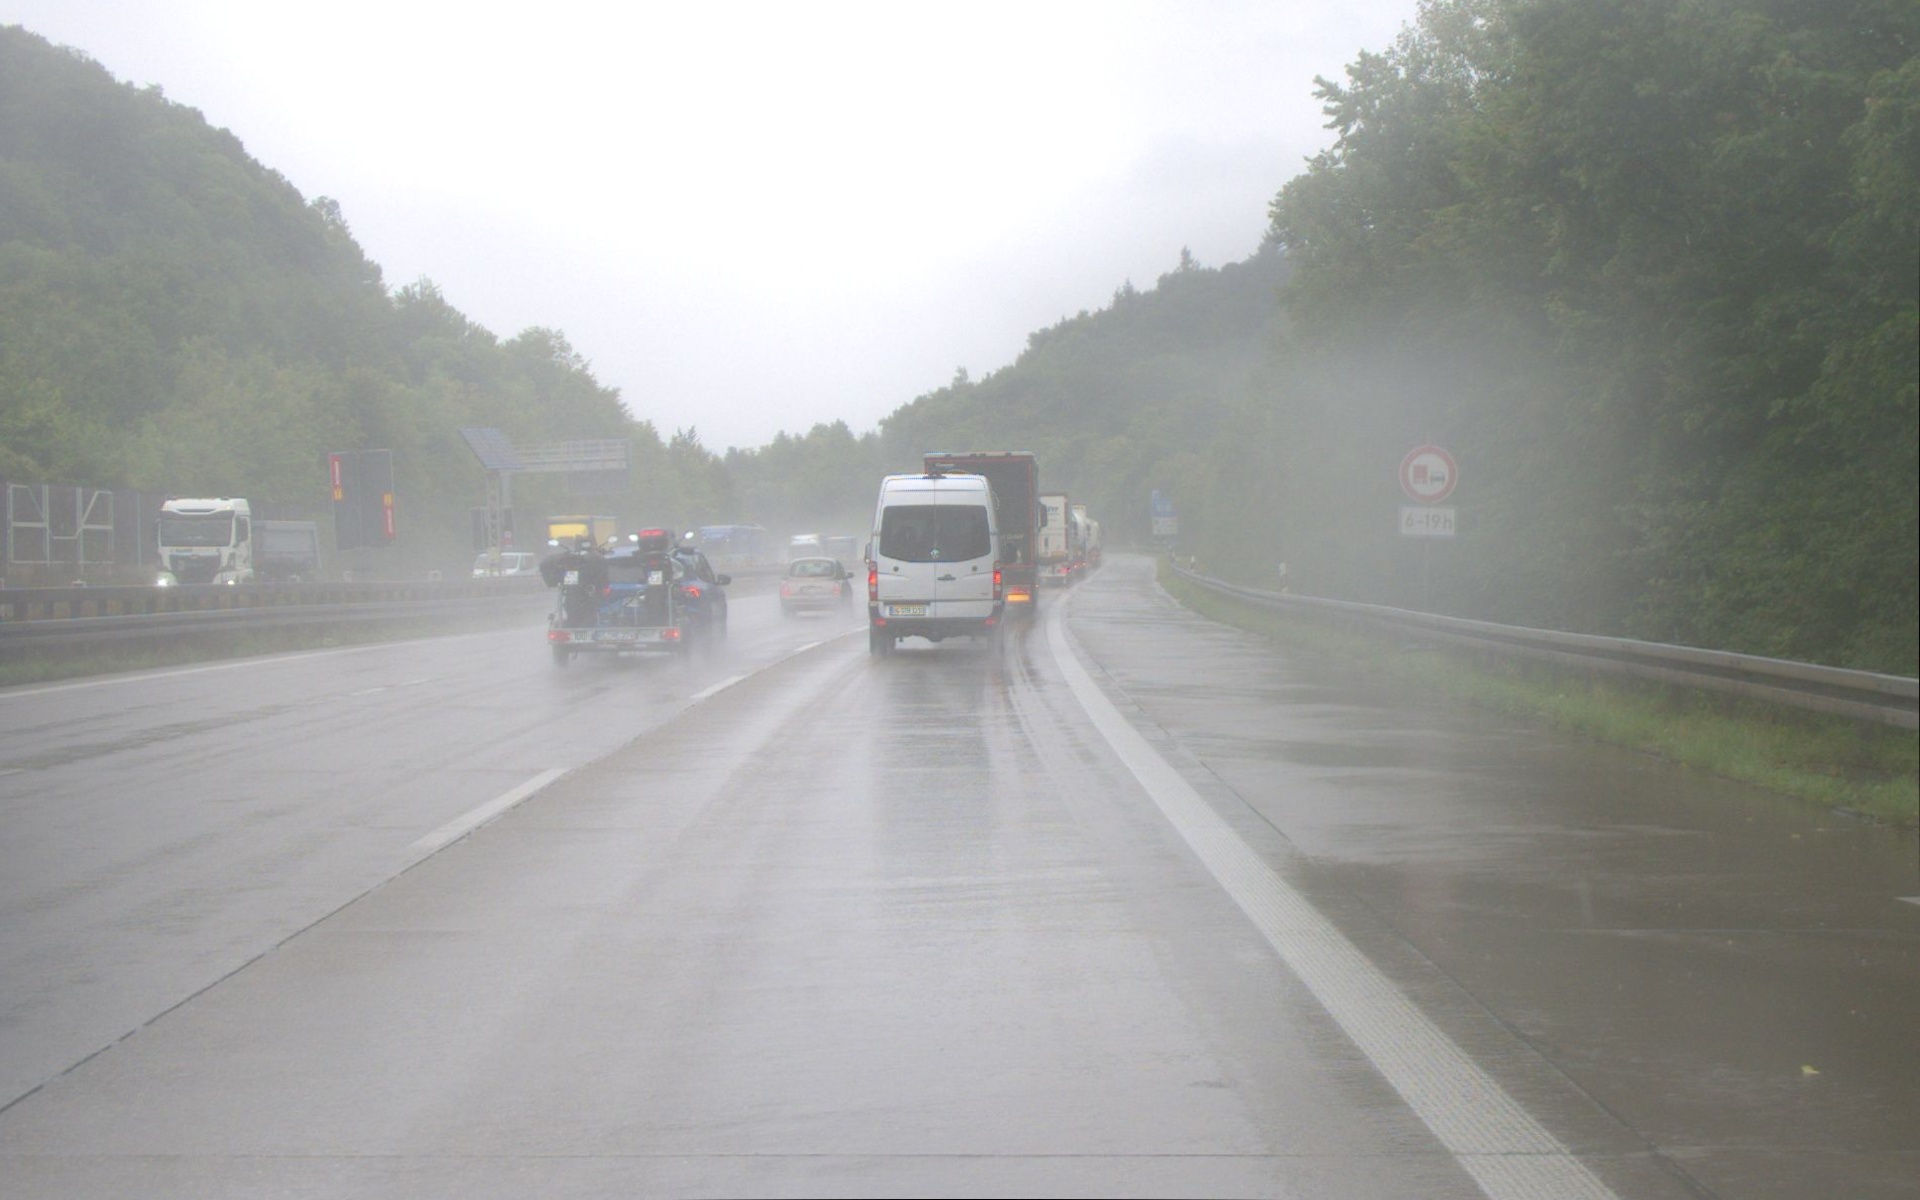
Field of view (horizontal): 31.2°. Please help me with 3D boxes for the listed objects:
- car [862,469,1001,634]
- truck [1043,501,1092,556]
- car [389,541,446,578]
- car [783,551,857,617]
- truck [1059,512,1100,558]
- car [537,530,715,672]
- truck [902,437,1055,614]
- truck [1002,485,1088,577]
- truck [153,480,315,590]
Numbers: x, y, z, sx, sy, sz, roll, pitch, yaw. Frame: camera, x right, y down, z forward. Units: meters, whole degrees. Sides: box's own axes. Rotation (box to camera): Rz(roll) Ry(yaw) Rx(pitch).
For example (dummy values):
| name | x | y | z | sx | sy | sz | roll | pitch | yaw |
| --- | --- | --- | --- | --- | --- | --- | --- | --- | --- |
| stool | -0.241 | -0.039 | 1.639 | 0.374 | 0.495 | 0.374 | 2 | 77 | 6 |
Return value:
| name | x | y | z | sx | sy | sz | roll | pitch | yaw |
| --- | --- | --- | --- | --- | --- | --- | --- | --- | --- |
| car | -0.374 | -0.732 | 51.575 | 1.899 | 2.326 | 5.250 | 0 | 1 | 1 |
| truck | 5.904 | -3.934 | 190.249 | 2.585 | 2.971 | 9.026 | 0 | 1 | 1 |
| car | -24.712 | -1.863 | 156.793 | 1.993 | 1.656 | 4.000 | 0 | 1 | 0 |
| car | -3.559 | -0.434 | 87.917 | 1.614 | 1.622 | 4.189 | 0 | 1 | 1 |
| truck | 7.889 | -4.278 | 228.015 | 2.585 | 2.971 | 9.026 | 0 | 1 | 1 |
| car | -4.422 | -0.020 | 46.016 | 1.868 | 1.804 | 4.189 | 0 | 1 | 1 |
| truck | 0.360 | -1.936 | 84.888 | 3.385 | 3.954 | 8.668 | -3 | 3 | -1 |
| truck | 3.764 | -2.965 | 150.314 | 3.091 | 3.896 | 9.052 | 1 | 1 | 5 |
| truck | -23.024 | -2.066 | 109.615 | 2.774 | 3.304 | 11.516 | 0 | 1 | 0 |
